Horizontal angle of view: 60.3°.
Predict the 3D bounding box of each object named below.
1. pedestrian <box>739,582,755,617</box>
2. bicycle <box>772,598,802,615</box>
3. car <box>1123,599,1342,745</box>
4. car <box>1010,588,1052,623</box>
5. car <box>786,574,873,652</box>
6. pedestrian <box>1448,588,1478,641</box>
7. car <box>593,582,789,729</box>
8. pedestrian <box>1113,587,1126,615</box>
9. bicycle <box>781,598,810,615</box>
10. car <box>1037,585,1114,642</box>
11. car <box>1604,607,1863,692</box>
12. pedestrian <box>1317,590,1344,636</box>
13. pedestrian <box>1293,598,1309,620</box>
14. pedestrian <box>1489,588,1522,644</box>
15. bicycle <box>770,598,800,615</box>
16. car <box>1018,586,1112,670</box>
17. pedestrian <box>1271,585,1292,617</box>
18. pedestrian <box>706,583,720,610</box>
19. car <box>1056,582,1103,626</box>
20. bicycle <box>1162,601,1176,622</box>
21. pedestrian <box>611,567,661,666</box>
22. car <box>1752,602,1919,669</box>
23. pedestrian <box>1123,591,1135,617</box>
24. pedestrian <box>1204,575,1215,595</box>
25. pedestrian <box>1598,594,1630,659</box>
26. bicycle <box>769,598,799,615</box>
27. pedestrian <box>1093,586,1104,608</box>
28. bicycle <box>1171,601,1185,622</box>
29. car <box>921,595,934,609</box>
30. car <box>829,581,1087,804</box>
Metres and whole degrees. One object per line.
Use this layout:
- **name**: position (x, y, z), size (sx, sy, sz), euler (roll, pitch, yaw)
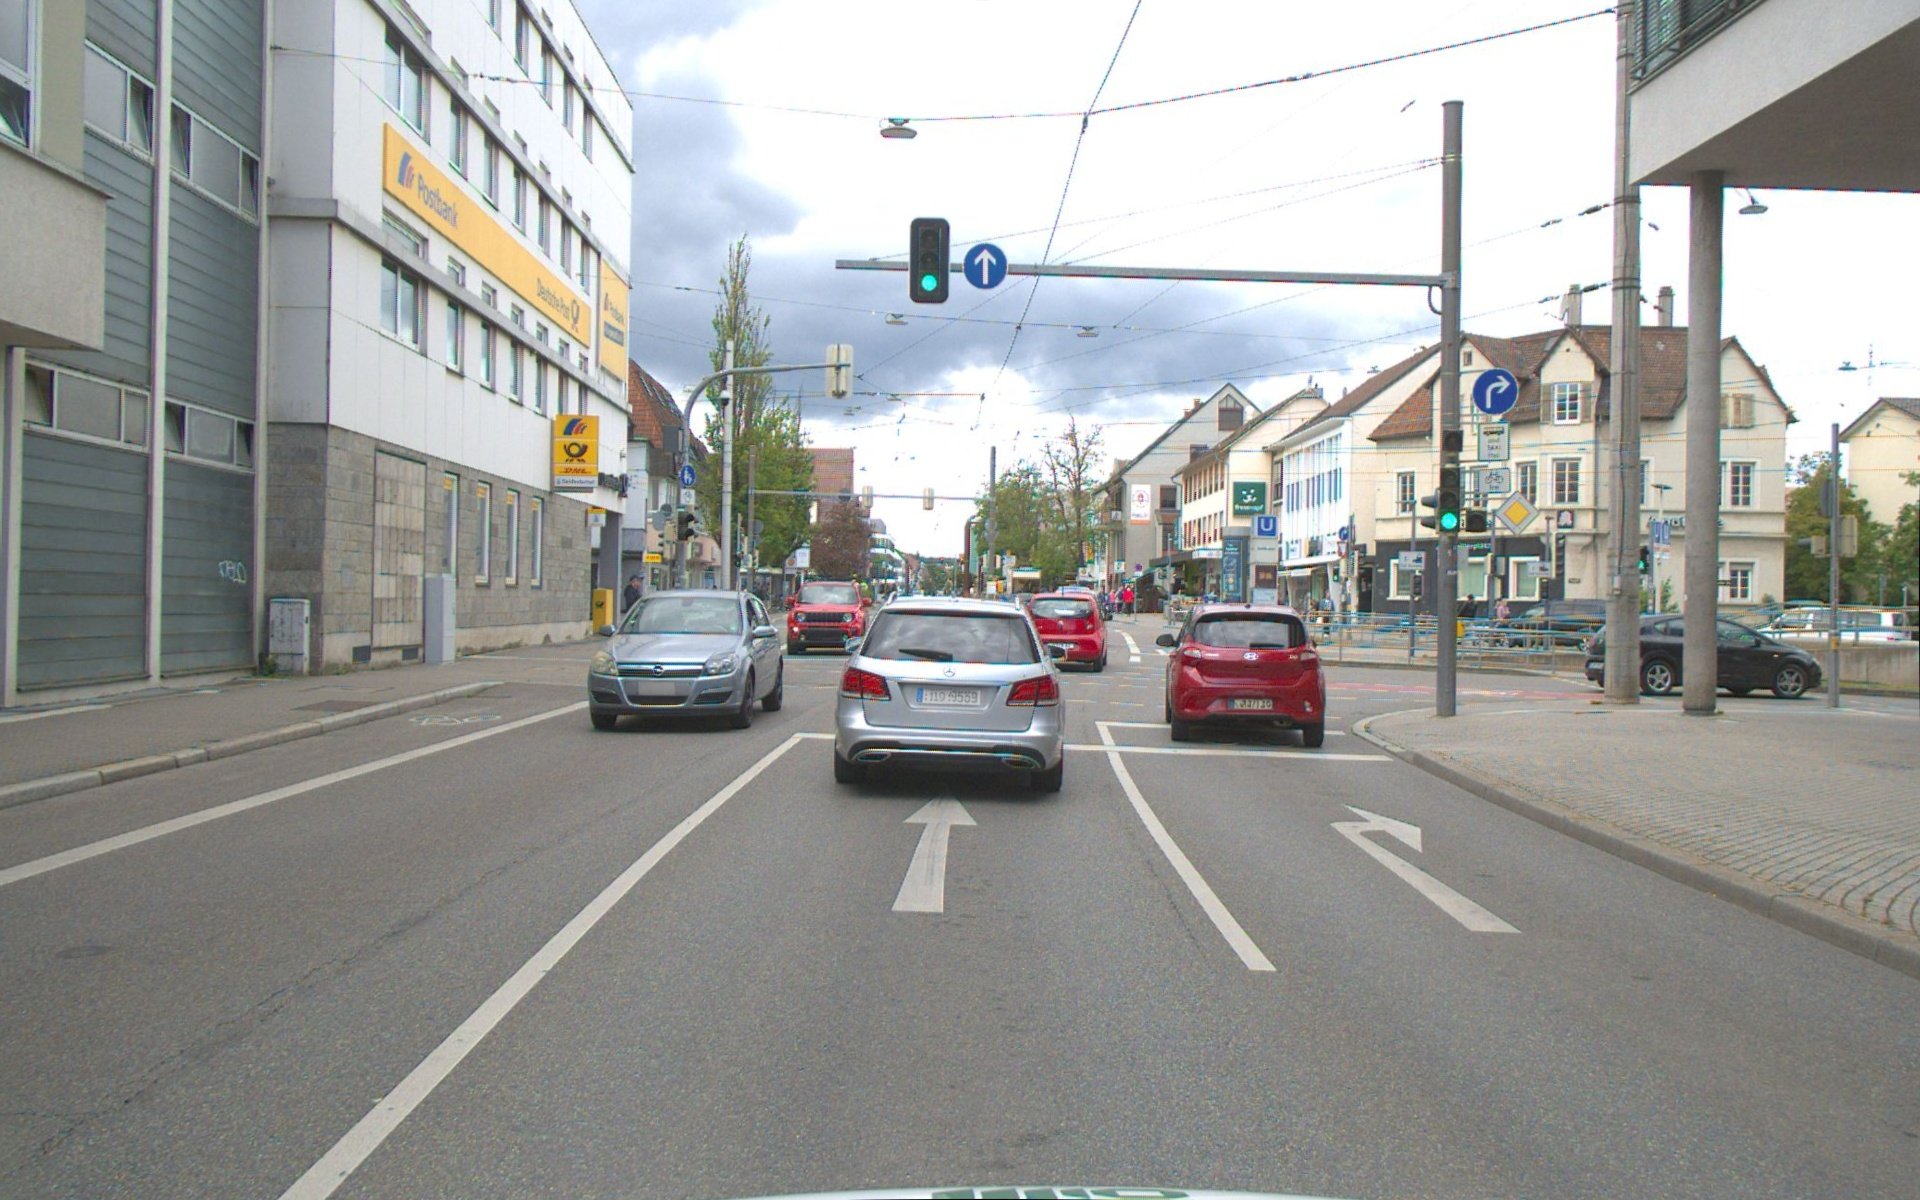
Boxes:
- **pedestrian**: position (-10.088, -0.015, 78.356), size (0.623, 1.634, 0.702), euler (1, 0, -14)
- **bicycle**: position (-11.431, 0.445, 109.014), size (1.903, 1.047, 0.529), euler (2, 0, -11)
- **car**: position (3.064, 0.759, 19.371), size (1.664, 1.477, 3.997), euler (2, 0, -3)
- **car**: position (3.798, 0.270, 89.433), size (1.953, 1.780, 3.999), euler (1, 0, -2)
- **car**: position (-3.007, 0.285, 38.823), size (1.763, 1.724, 3.897), euler (0, 0, -1)
- **pedestrian**: position (16.591, 0.470, 54.551), size (0.691, 1.748, 0.647), euler (1, 0, -16)
- **car**: position (-2.933, 0.556, 18.731), size (1.623, 1.492, 3.920), euler (0, 0, -1)
- **pedestrian**: position (9.815, 0.051, 101.819), size (0.567, 1.695, 0.650), euler (2, 0, -7)
- **bicycle**: position (-11.218, 0.451, 113.005), size (1.903, 1.047, 0.529), euler (2, 0, -11)
- **car**: position (3.243, 0.368, 47.031), size (1.700, 1.534, 3.997), euler (1, 0, -3)
- **car**: position (13.955, 0.875, 29.945), size (3.910, 1.435, 1.738), euler (1, 1, -6)
- **pedestrian**: position (14.159, 0.492, 63.200), size (0.824, 1.748, 0.726), euler (1, 0, -5)
- **pedestrian**: position (18.400, 0.490, 89.255), size (0.721, 1.184, 0.642), euler (2, 0, -4)
- **pedestrian**: position (17.681, 0.517, 53.617), size (0.781, 1.748, 0.641), euler (2, 1, -38)
- **bicycle**: position (-11.579, 0.440, 109.671), size (1.903, 1.047, 0.529), euler (2, 0, -11)
- **car**: position (2.141, 0.515, 32.956), size (1.697, 1.534, 4.003), euler (1, 0, 6)
- **pedestrian**: position (16.736, 0.037, 86.088), size (0.631, 1.619, 0.892), euler (2, 0, -21)
- **pedestrian**: position (-15.154, -0.239, 101.492), size (0.692, 1.634, 0.576), euler (1, 0, -22)
- **car**: position (5.025, 0.162, 70.013), size (1.699, 1.790, 4.000), euler (1, 0, 0)
- **bicycle**: position (11.158, 0.613, 88.188), size (0.439, 1.110, 2.149), euler (1, 0, 0)
- **pedestrian**: position (-5.870, 0.292, 29.990), size (0.634, 1.748, 0.783), euler (2, 0, 6)
- **car**: position (28.062, 1.102, 52.668), size (1.971, 1.952, 4.714), euler (3, -1, -40)
- **pedestrian**: position (10.062, 0.251, 98.442), size (0.566, 1.495, 0.650), euler (2, 0, -5)
- **pedestrian**: position (15.683, -0.917, 103.915), size (0.522, 1.240, 0.579), euler (2, 0, -4)
- **pedestrian**: position (17.844, 0.715, 45.127), size (0.638, 1.748, 0.701), euler (1, 0, 40)
- **bicycle**: position (-11.718, 0.435, 110.260), size (1.903, 1.047, 0.529), euler (2, 0, -11)
- **pedestrian**: position (9.094, -0.185, 108.507), size (0.567, 1.460, 0.650), euler (2, 0, -6)
- **bicycle**: position (11.598, 0.611, 88.198), size (0.439, 1.127, 2.149), euler (1, 0, 0)
- **car**: position (-4.840, 0.339, 245.826), size (1.953, 2.049, 3.999), euler (1, 0, -1)
- **car**: position (-0.025, 0.658, 14.014), size (1.808, 1.534, 4.171), euler (2, 0, -1)
